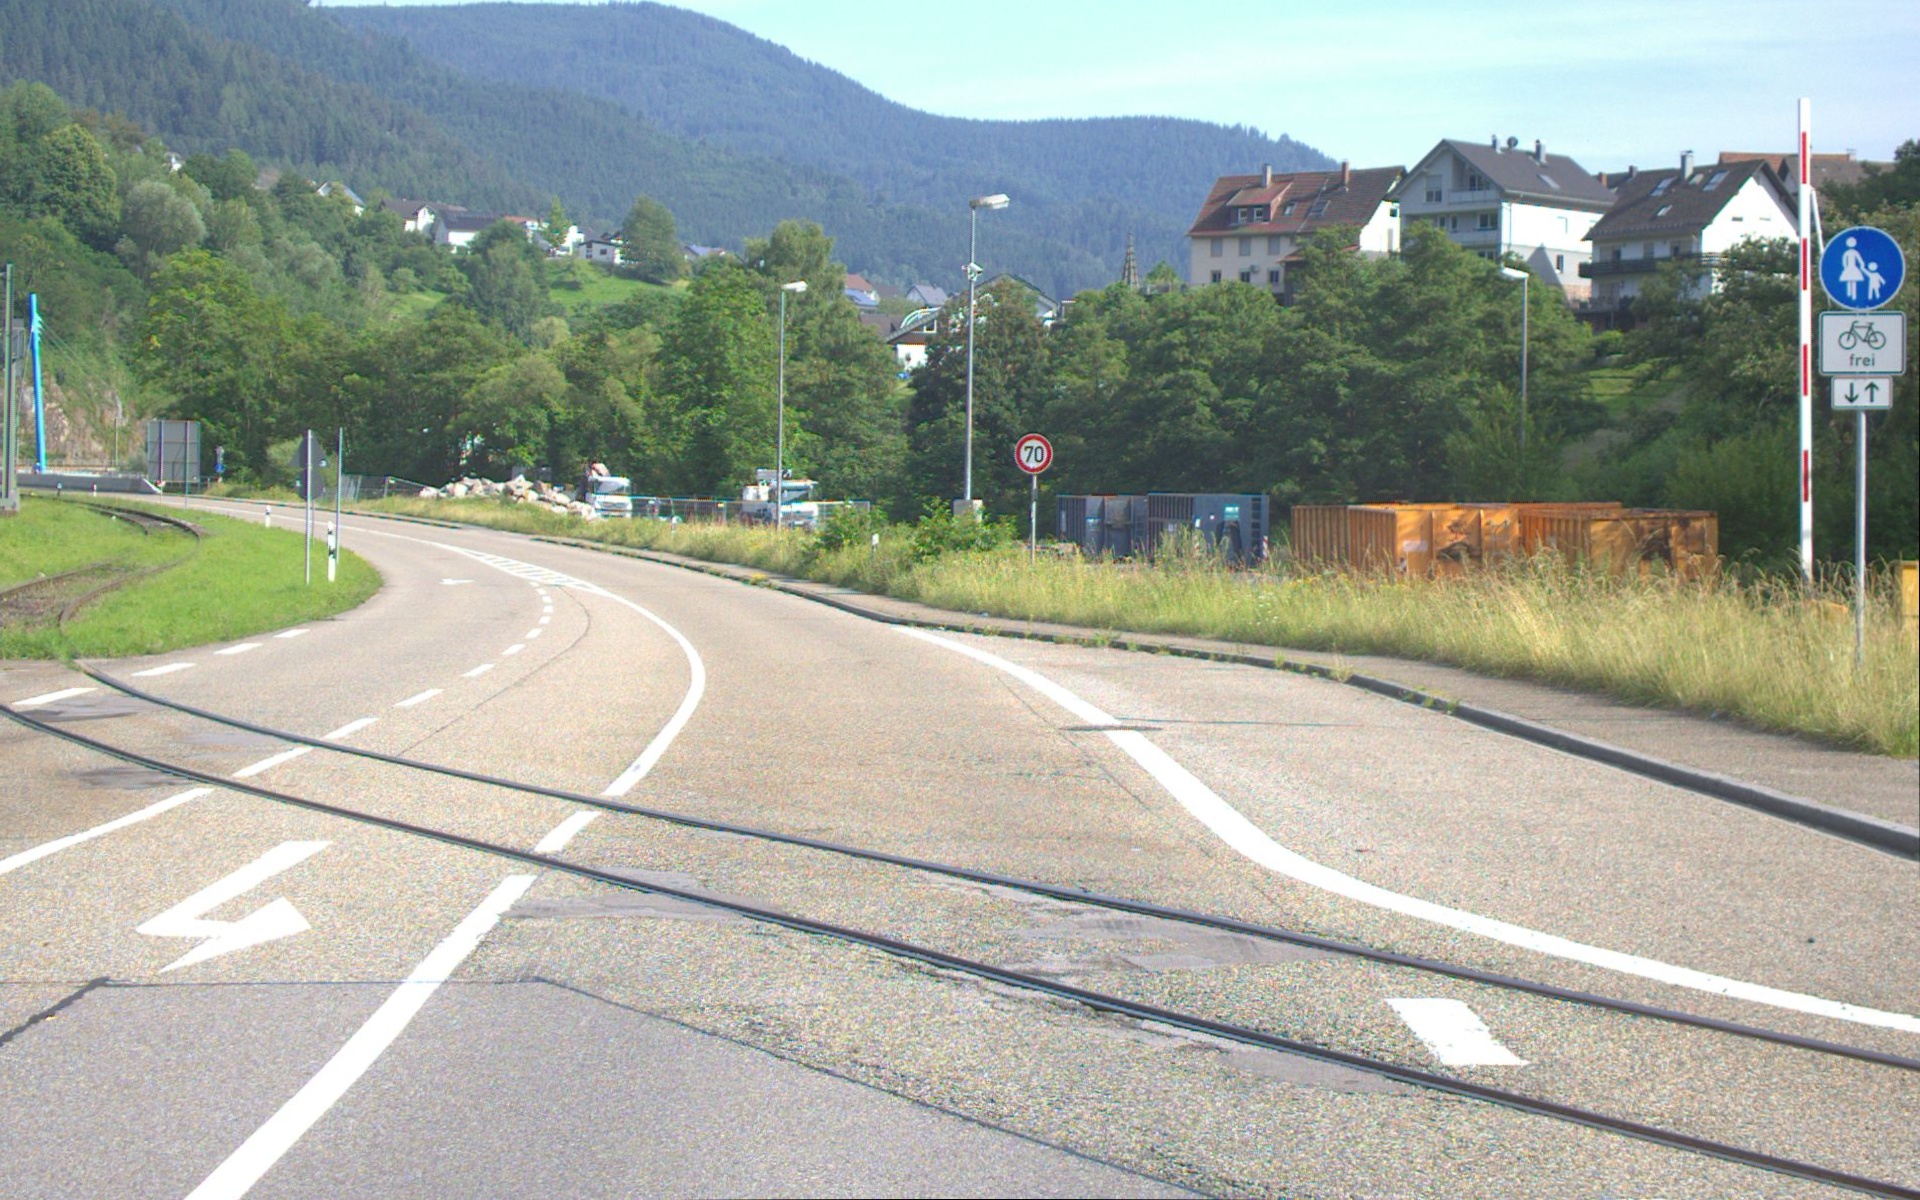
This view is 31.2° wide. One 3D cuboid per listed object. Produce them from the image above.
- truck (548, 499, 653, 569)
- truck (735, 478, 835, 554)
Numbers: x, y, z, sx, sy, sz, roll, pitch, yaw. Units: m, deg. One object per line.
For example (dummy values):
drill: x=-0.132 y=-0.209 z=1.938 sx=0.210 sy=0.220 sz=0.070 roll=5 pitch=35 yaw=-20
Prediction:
truck: x=-20.527 y=-3.788 z=195.752 sx=3.102 sy=3.769 sz=8.647 roll=2 pitch=1 yaw=-25
truck: x=-9.200 y=-4.402 z=179.629 sx=3.102 sy=3.769 sz=8.648 roll=2 pitch=1 yaw=-16
